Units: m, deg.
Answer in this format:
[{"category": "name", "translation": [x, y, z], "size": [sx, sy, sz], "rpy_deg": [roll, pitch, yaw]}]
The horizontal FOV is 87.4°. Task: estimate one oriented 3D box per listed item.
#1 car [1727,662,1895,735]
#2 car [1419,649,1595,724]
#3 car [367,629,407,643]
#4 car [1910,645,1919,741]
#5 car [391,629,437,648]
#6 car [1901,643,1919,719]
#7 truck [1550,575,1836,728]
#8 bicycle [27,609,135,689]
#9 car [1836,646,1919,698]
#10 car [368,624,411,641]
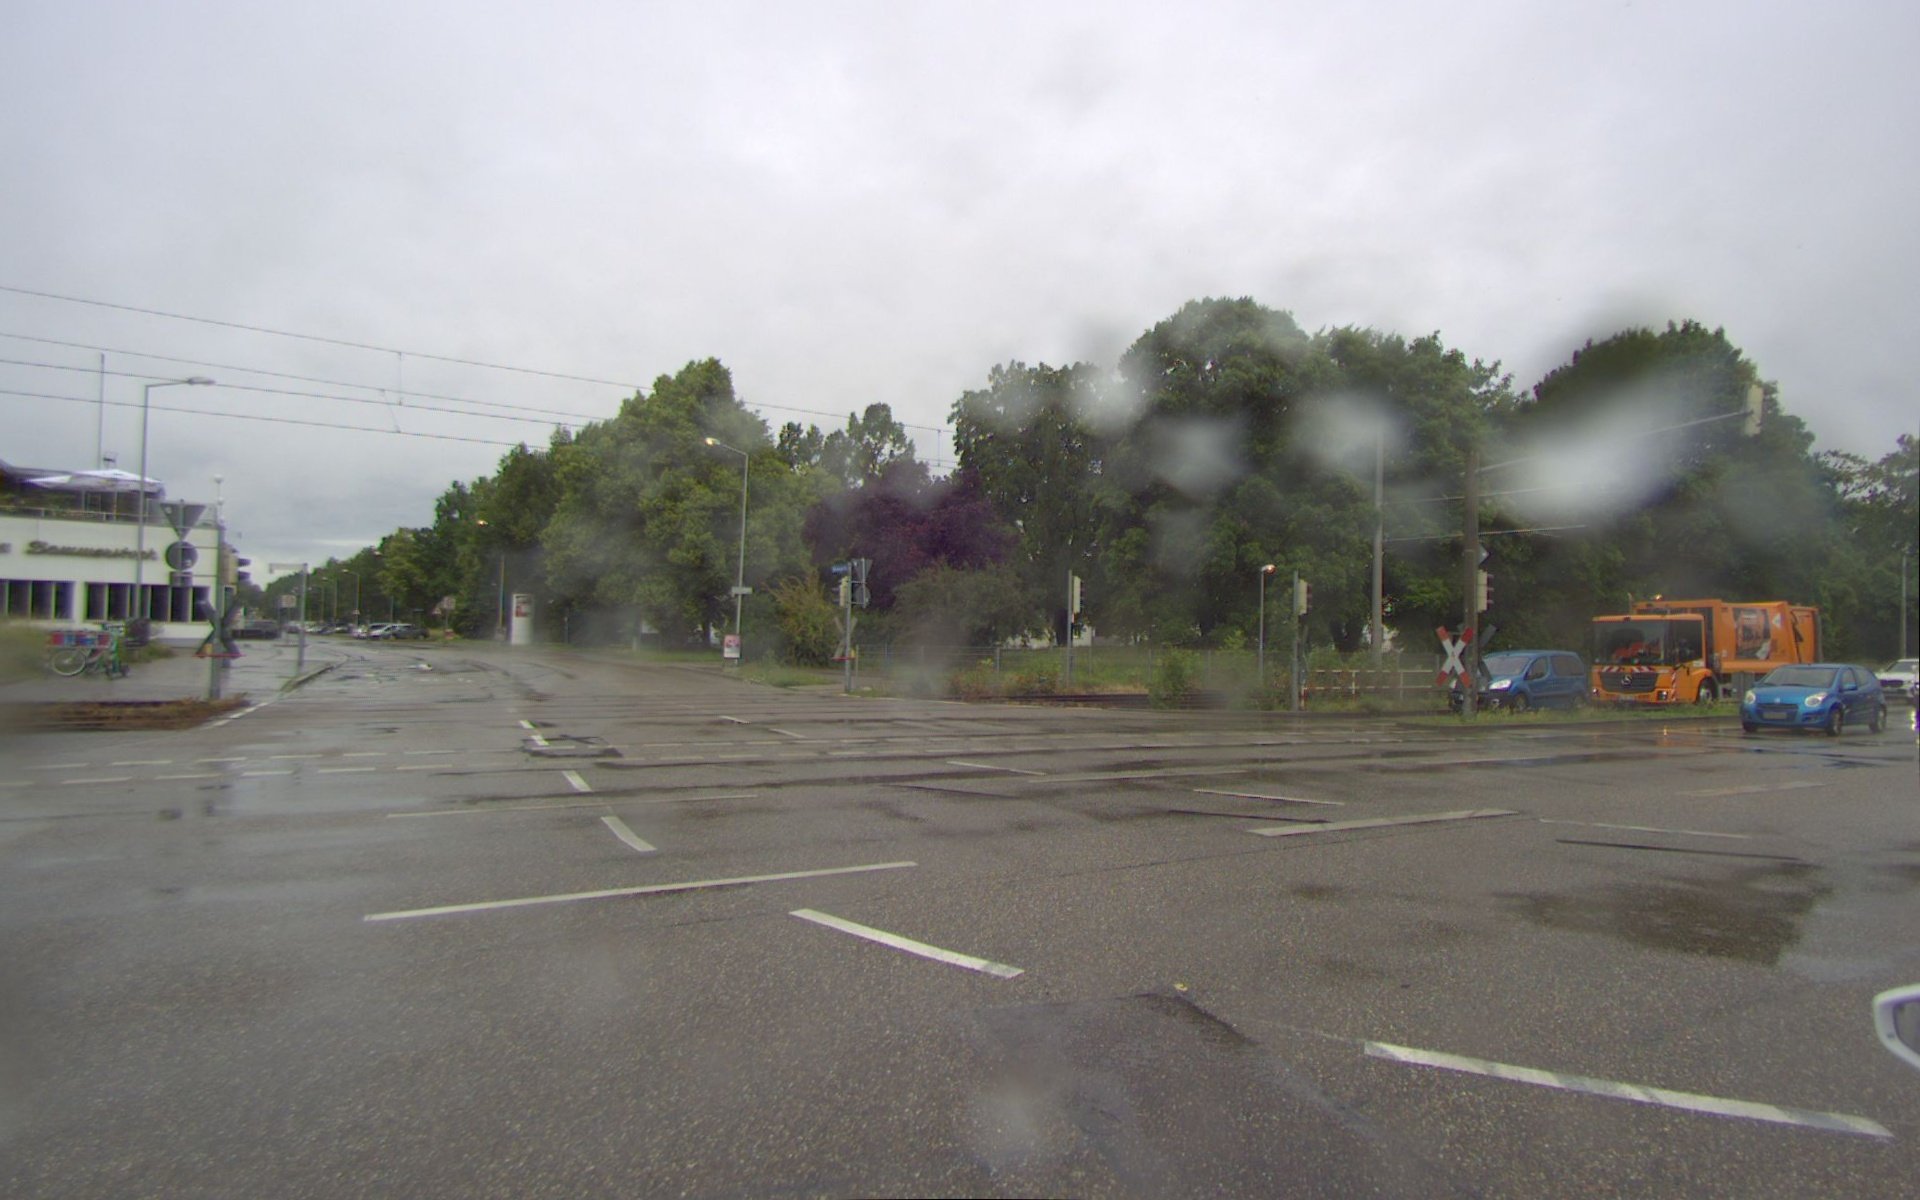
[{"category": "car", "translation": [18.352, 2.084, 21.630], "size": [3.956, 1.446, 1.632], "rpy_deg": [3, -4, -32]}, {"category": "car", "translation": [14.529, 2.268, 26.636], "size": [4.472, 1.732, 1.985], "rpy_deg": [3, -1, -29]}, {"category": "car", "translation": [-67.429, 4.209, 118.258], "size": [3.957, 1.517, 1.685], "rpy_deg": [3, -1, -32]}, {"category": "car", "translation": [20.627, 1.802, 19.514], "size": [5.030, 1.796, 1.797], "rpy_deg": [2, -3, -30]}, {"category": "car", "translation": [-57.017, 4.024, 104.843], "size": [3.962, 1.726, 1.856], "rpy_deg": [3, -1, -36]}, {"category": "car", "translation": [28.093, 2.236, 27.651], "size": [4.686, 2.044, 1.920], "rpy_deg": [2, -2, -30]}, {"category": "truck", "translation": [23.391, 1.644, 31.828], "size": [10.284, 4.222, 3.369], "rpy_deg": [3, -1, -30]}, {"category": "bicycle", "translation": [-20.106, 1.125, 23.020], "size": [1.713, 1.784, 0.637], "rpy_deg": [2, -2, -29]}, {"category": "car", "translation": [36.943, 2.840, 39.856], "size": [4.719, 1.851, 1.983], "rpy_deg": [3, -1, -32]}, {"category": "car", "translation": [-63.237, 3.563, 111.351], "size": [3.962, 1.726, 1.856], "rpy_deg": [3, -1, -36]}]
